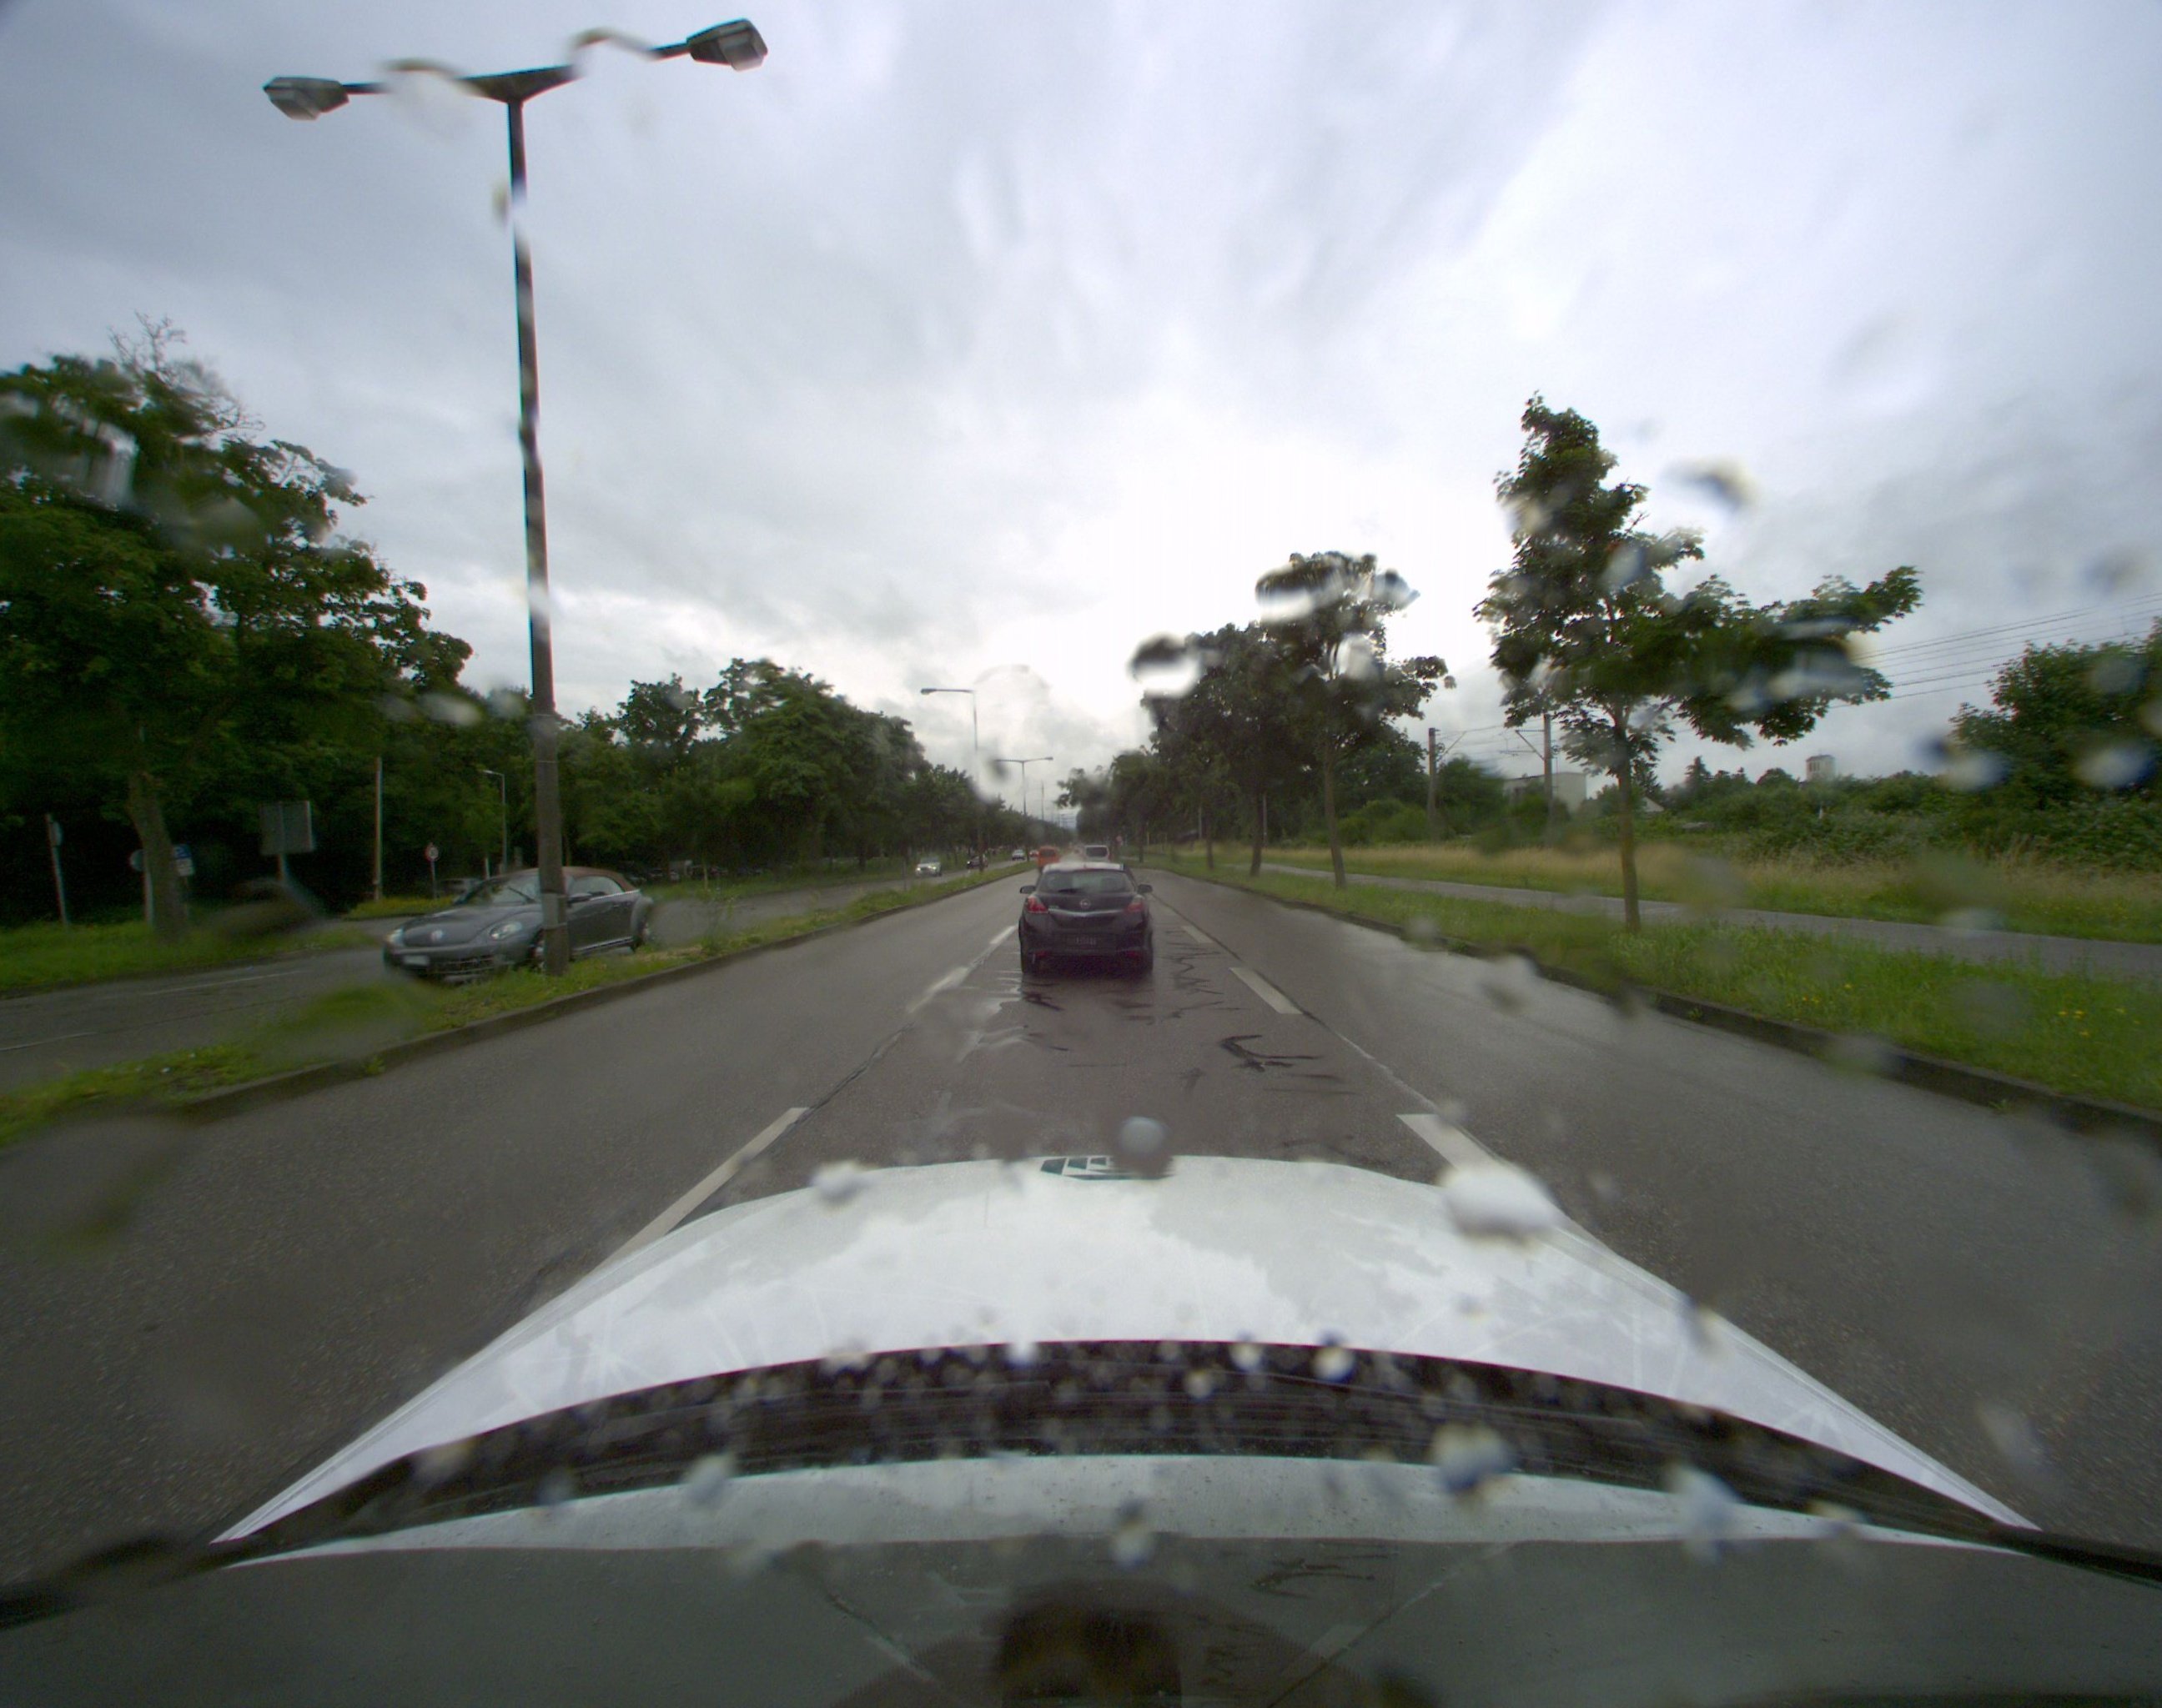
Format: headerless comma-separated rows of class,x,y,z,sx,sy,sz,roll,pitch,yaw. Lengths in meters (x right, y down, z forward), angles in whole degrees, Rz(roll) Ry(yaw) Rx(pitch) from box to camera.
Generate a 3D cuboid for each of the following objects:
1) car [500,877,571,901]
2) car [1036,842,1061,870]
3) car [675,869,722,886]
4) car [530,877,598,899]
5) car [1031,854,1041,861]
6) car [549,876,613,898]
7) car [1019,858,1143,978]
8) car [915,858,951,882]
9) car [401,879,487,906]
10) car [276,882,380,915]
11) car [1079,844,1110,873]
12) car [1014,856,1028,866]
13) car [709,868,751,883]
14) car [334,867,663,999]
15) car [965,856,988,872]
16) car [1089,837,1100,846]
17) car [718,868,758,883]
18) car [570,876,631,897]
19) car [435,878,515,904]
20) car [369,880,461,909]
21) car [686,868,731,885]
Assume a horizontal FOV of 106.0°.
car,-38.121,2.411,56.969,3.827,1.452,1.523,-2,0,-4
car,-2.383,0.174,61.271,1.729,2.019,4.846,1,-1,-1
car,-37.422,2.324,79.675,3.836,1.452,1.519,-2,0,-11
car,-37.780,2.471,59.559,3.827,1.452,1.523,-2,0,-4
car,-9.565,0.722,172.982,1.714,1.529,3.811,-2,0,2
car,-38.046,2.516,61.980,3.827,1.452,1.523,-2,0,-4
car,0.137,0.781,11.660,1.456,1.328,3.763,-1,1,4
car,-10.678,1.144,58.813,1.714,1.529,3.811,-2,1,2
car,-38.356,2.304,49.084,3.827,1.452,1.523,-2,0,-4
car,-38.259,2.249,41.442,3.726,1.426,1.486,-2,0,-4
car,0.902,0.335,58.341,2.053,1.974,4.606,-1,-1,-1
car,-9.660,1.085,131.365,1.714,1.529,3.811,-2,0,2
car,-37.348,2.300,86.636,3.840,1.452,1.518,-2,0,-14
car,-7.922,0.975,11.609,1.820,1.450,3.811,-2,0,2
car,-10.722,1.037,84.106,1.714,1.529,3.811,-2,0,2
car,3.278,-3.030,198.439,2.507,2.052,5.295,1,1,1
car,-38.644,2.443,91.815,3.840,1.452,1.518,-2,0,-14
car,-38.038,2.573,64.588,3.827,1.452,1.523,-2,0,-4
car,-38.487,2.351,51.764,3.827,1.452,1.523,-2,0,-4
car,-38.098,2.290,46.639,3.827,1.452,1.523,-2,0,-4
car,-37.506,2.270,82.047,3.840,1.452,1.518,-2,0,-14
